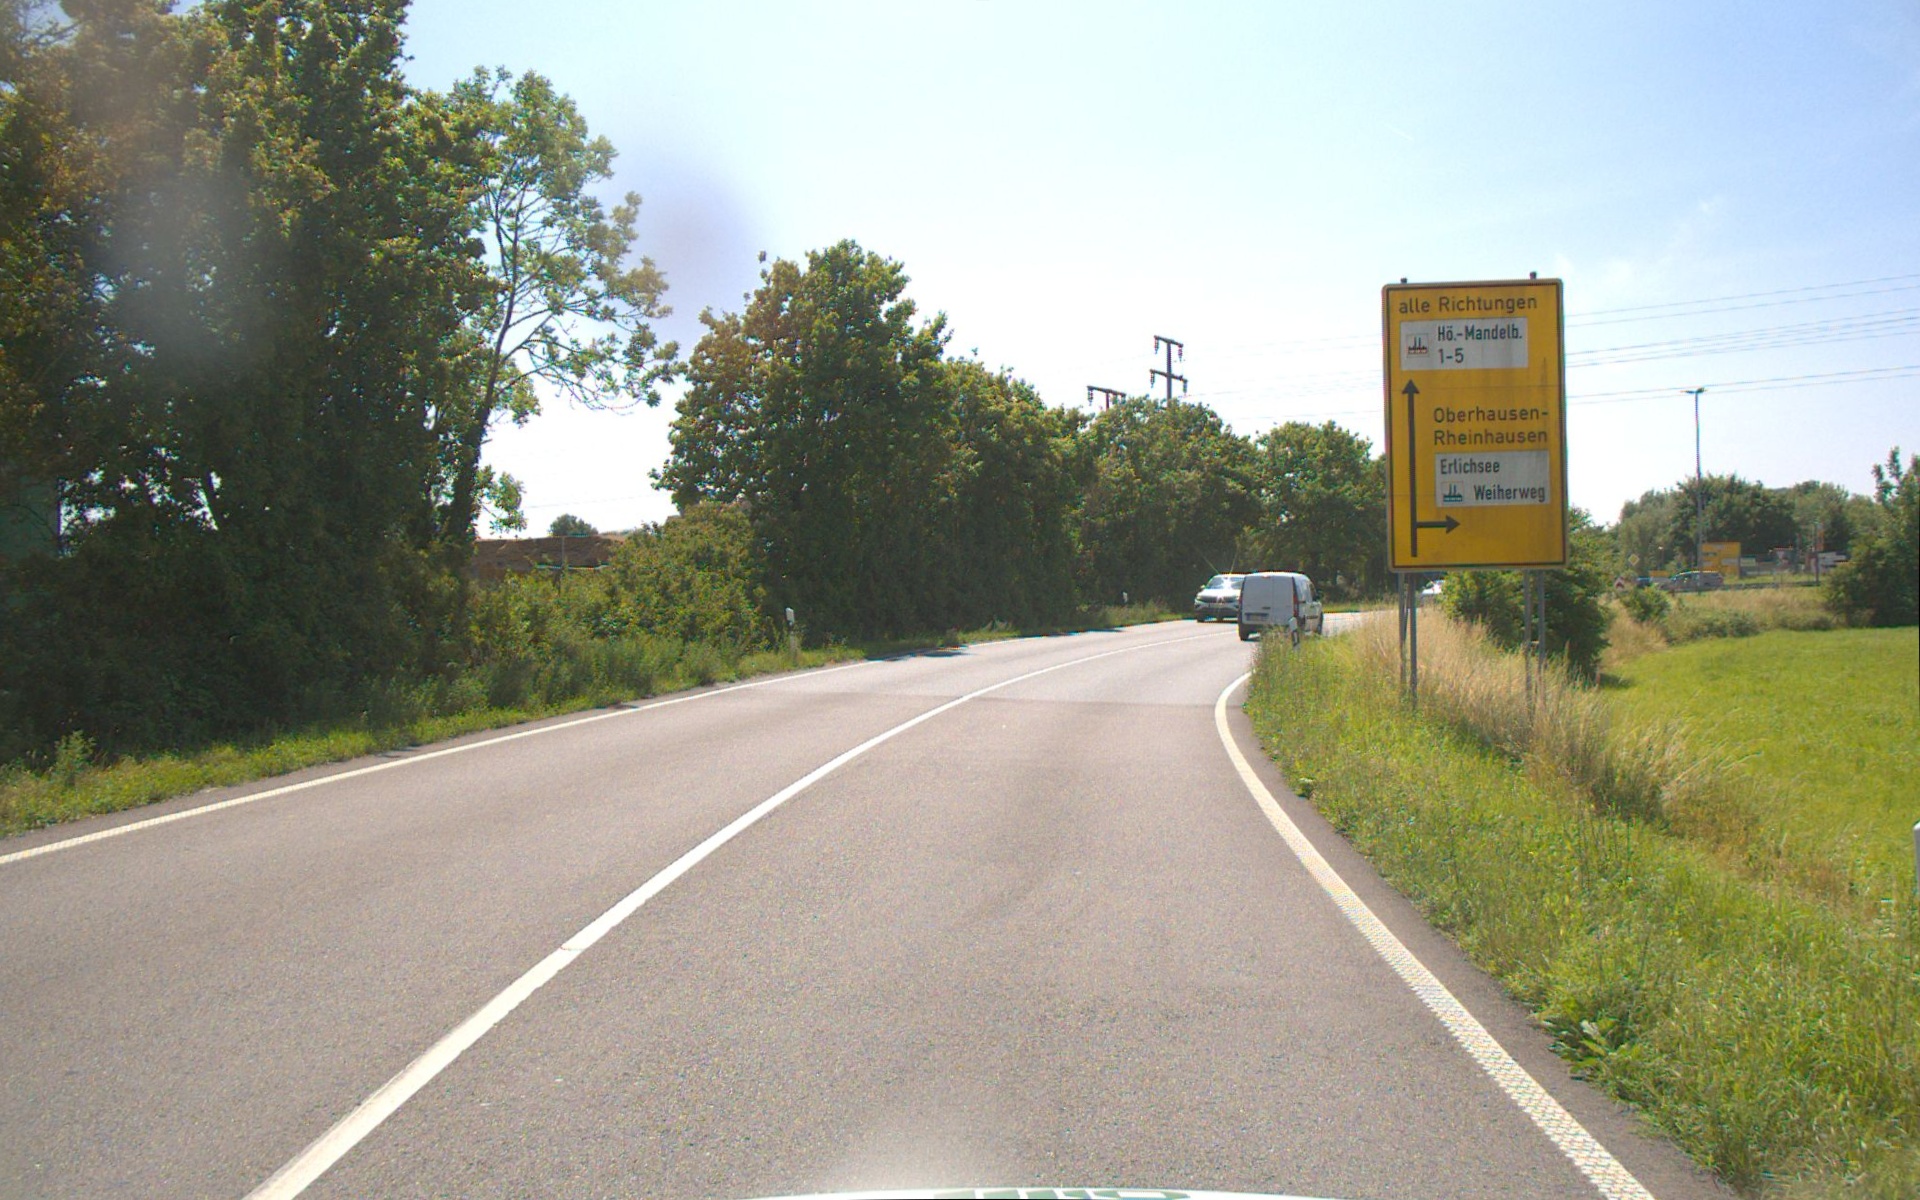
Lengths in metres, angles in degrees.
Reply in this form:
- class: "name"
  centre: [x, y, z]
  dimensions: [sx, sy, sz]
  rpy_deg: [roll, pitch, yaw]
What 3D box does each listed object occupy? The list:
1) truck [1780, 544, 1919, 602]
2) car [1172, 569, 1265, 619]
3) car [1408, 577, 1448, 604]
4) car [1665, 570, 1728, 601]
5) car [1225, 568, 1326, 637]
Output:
- class: "truck"
  centre: [52.618, -1.526, 96.048]
  dimensions: [8.598, 3.192, 3.107]
  rpy_deg: [1, -1, -2]
- class: "car"
  centre: [9.172, -0.227, 58.363]
  dimensions: [1.819, 1.629, 4.771]
  rpy_deg: [2, 1, 28]
- class: "car"
  centre: [28.862, -0.611, 101.873]
  dimensions: [1.707, 1.617, 3.997]
  rpy_deg: [1, 1, 26]
- class: "car"
  centre: [50.210, -0.961, 112.796]
  dimensions: [3.908, 2.049, 1.998]
  rpy_deg: [0, -1, 25]
- class: "car"
  centre: [8.653, 0.069, 45.199]
  dimensions: [1.865, 1.763, 3.820]
  rpy_deg: [-1, 0, 24]
